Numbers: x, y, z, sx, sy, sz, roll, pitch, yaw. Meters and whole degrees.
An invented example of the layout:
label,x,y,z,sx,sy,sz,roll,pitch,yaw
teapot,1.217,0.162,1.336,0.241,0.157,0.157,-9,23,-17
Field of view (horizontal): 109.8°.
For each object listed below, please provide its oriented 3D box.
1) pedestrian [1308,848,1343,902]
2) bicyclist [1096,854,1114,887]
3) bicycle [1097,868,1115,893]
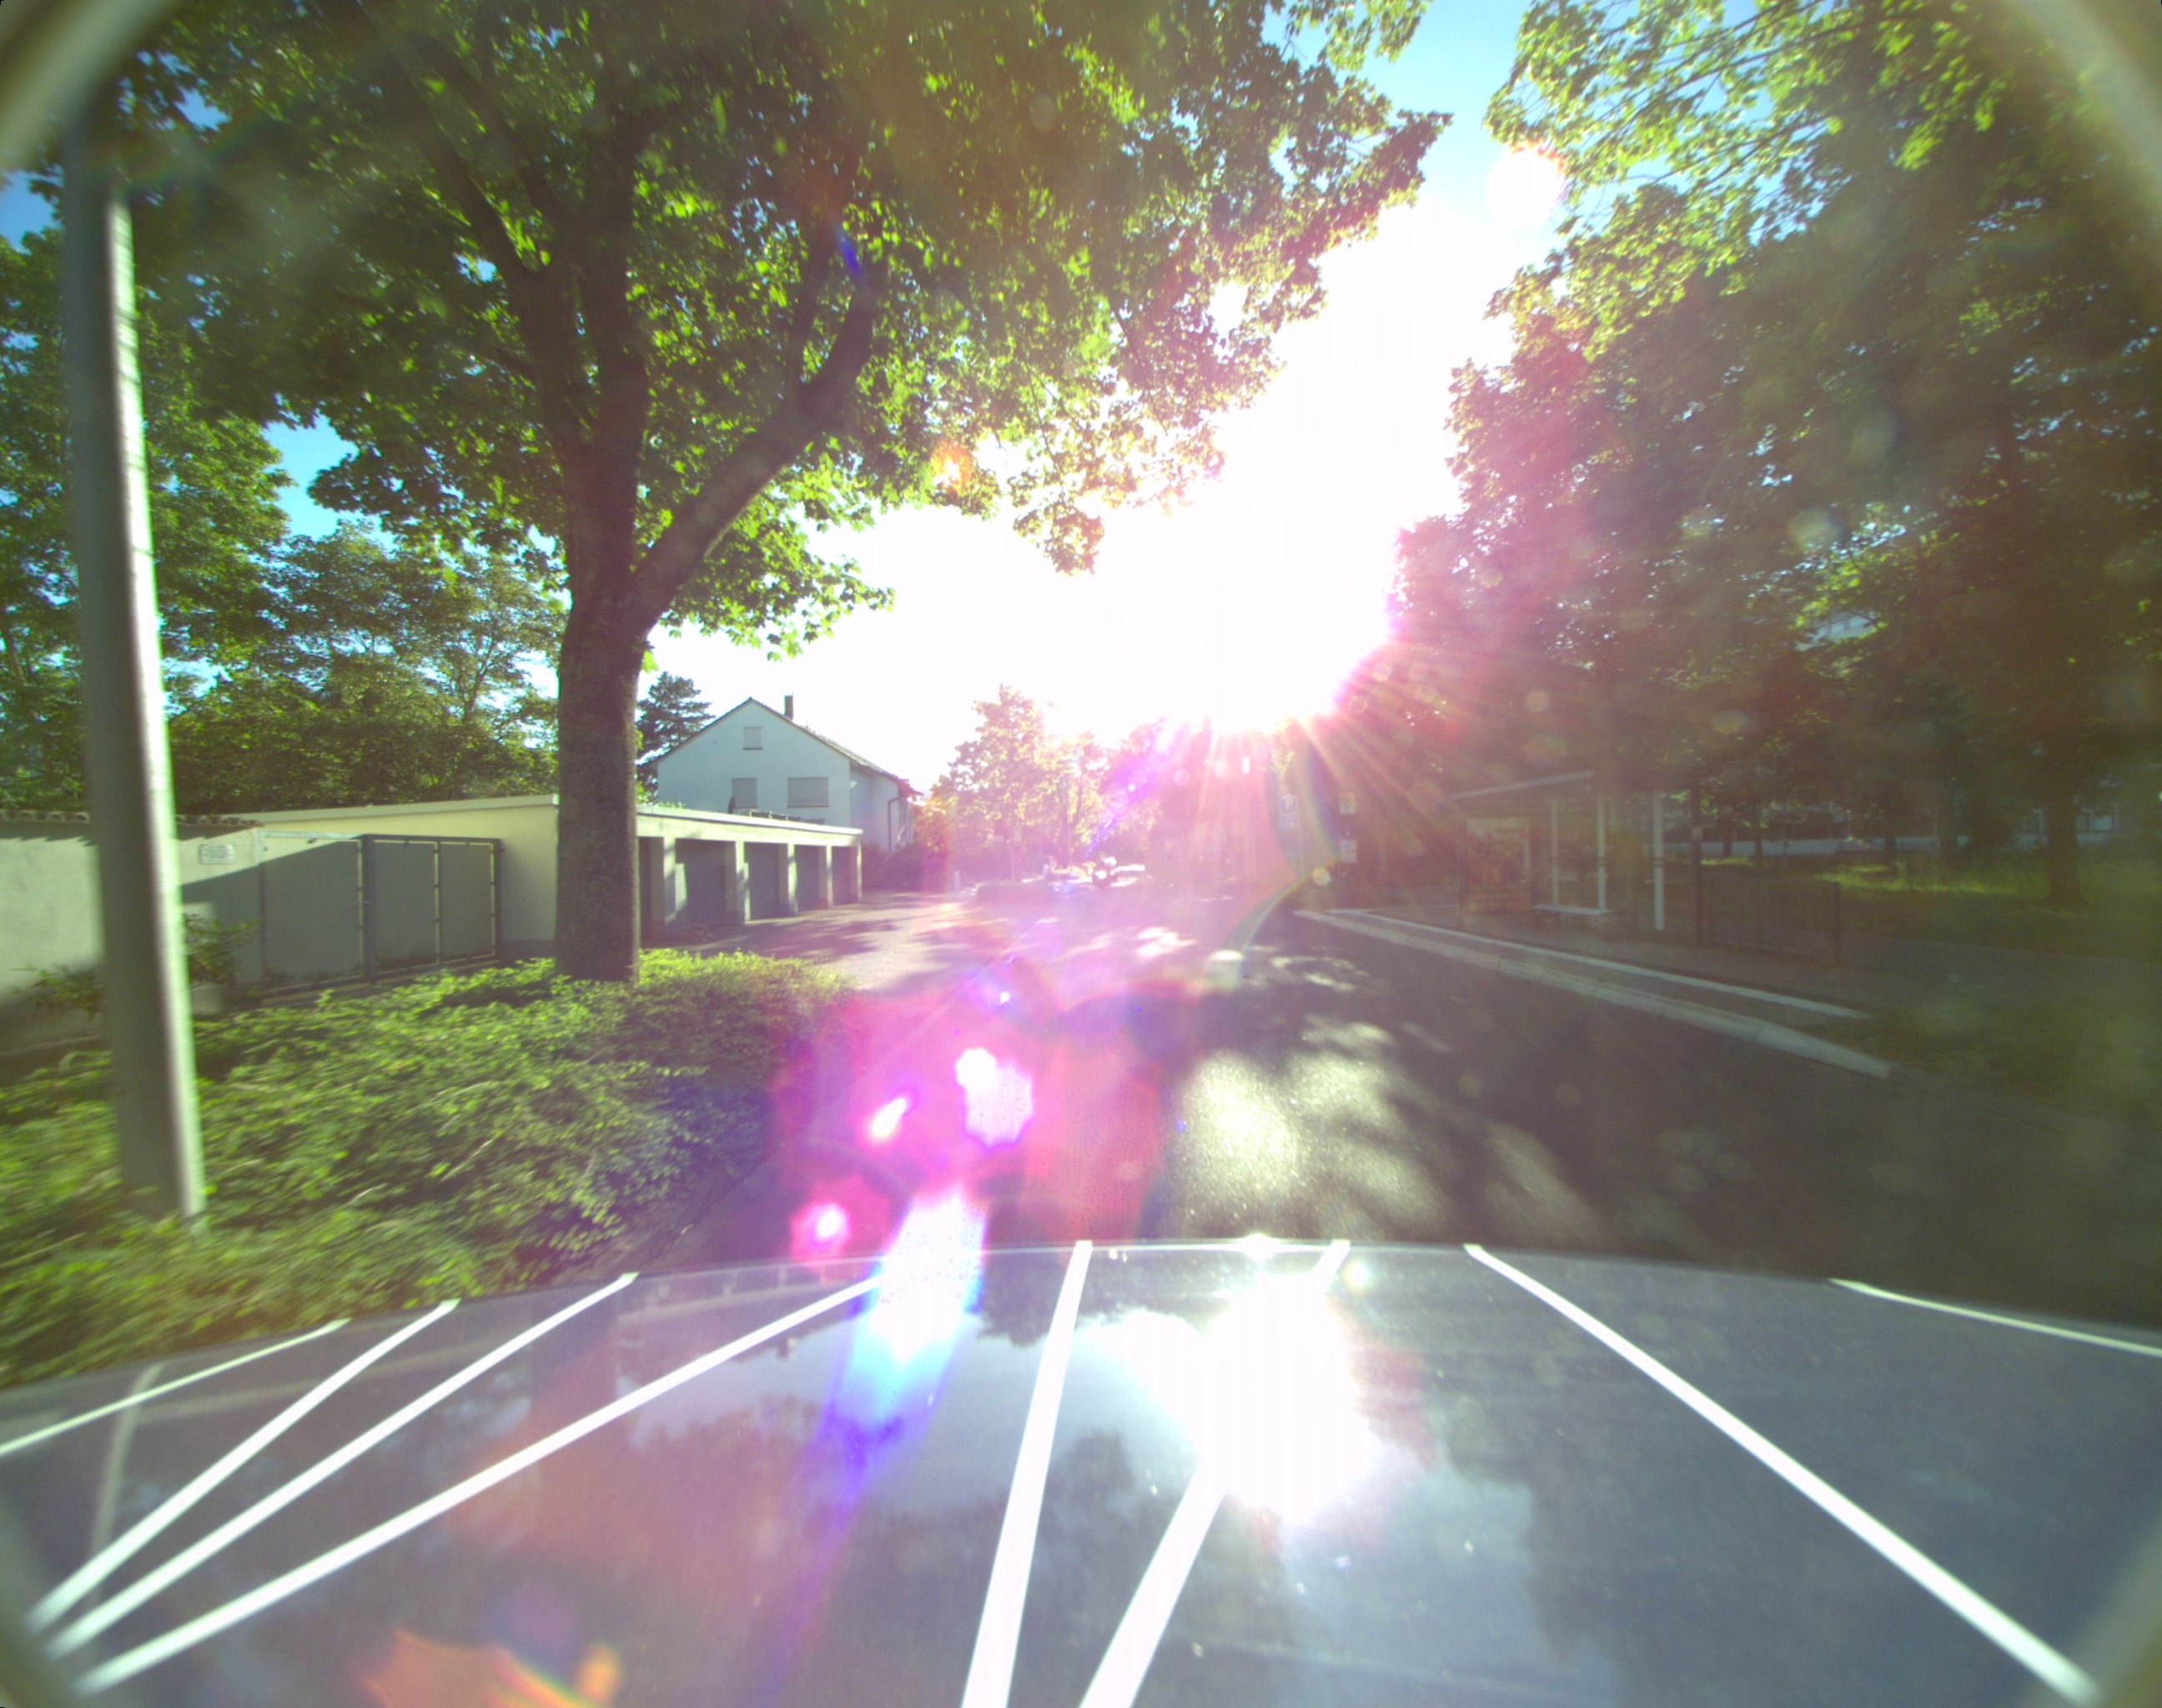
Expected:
label,x,y,z,sx,sy,sz,roll,pitch,yaw
pedestrian,8.408,0.721,26.160,0.905,1.810,0.720,-2,0,-1
bicyclist,1.210,0.833,38.378,0.819,1.635,0.744,-3,0,1
bicycle,1.233,1.331,38.438,0.829,1.182,2.302,-2,0,1
